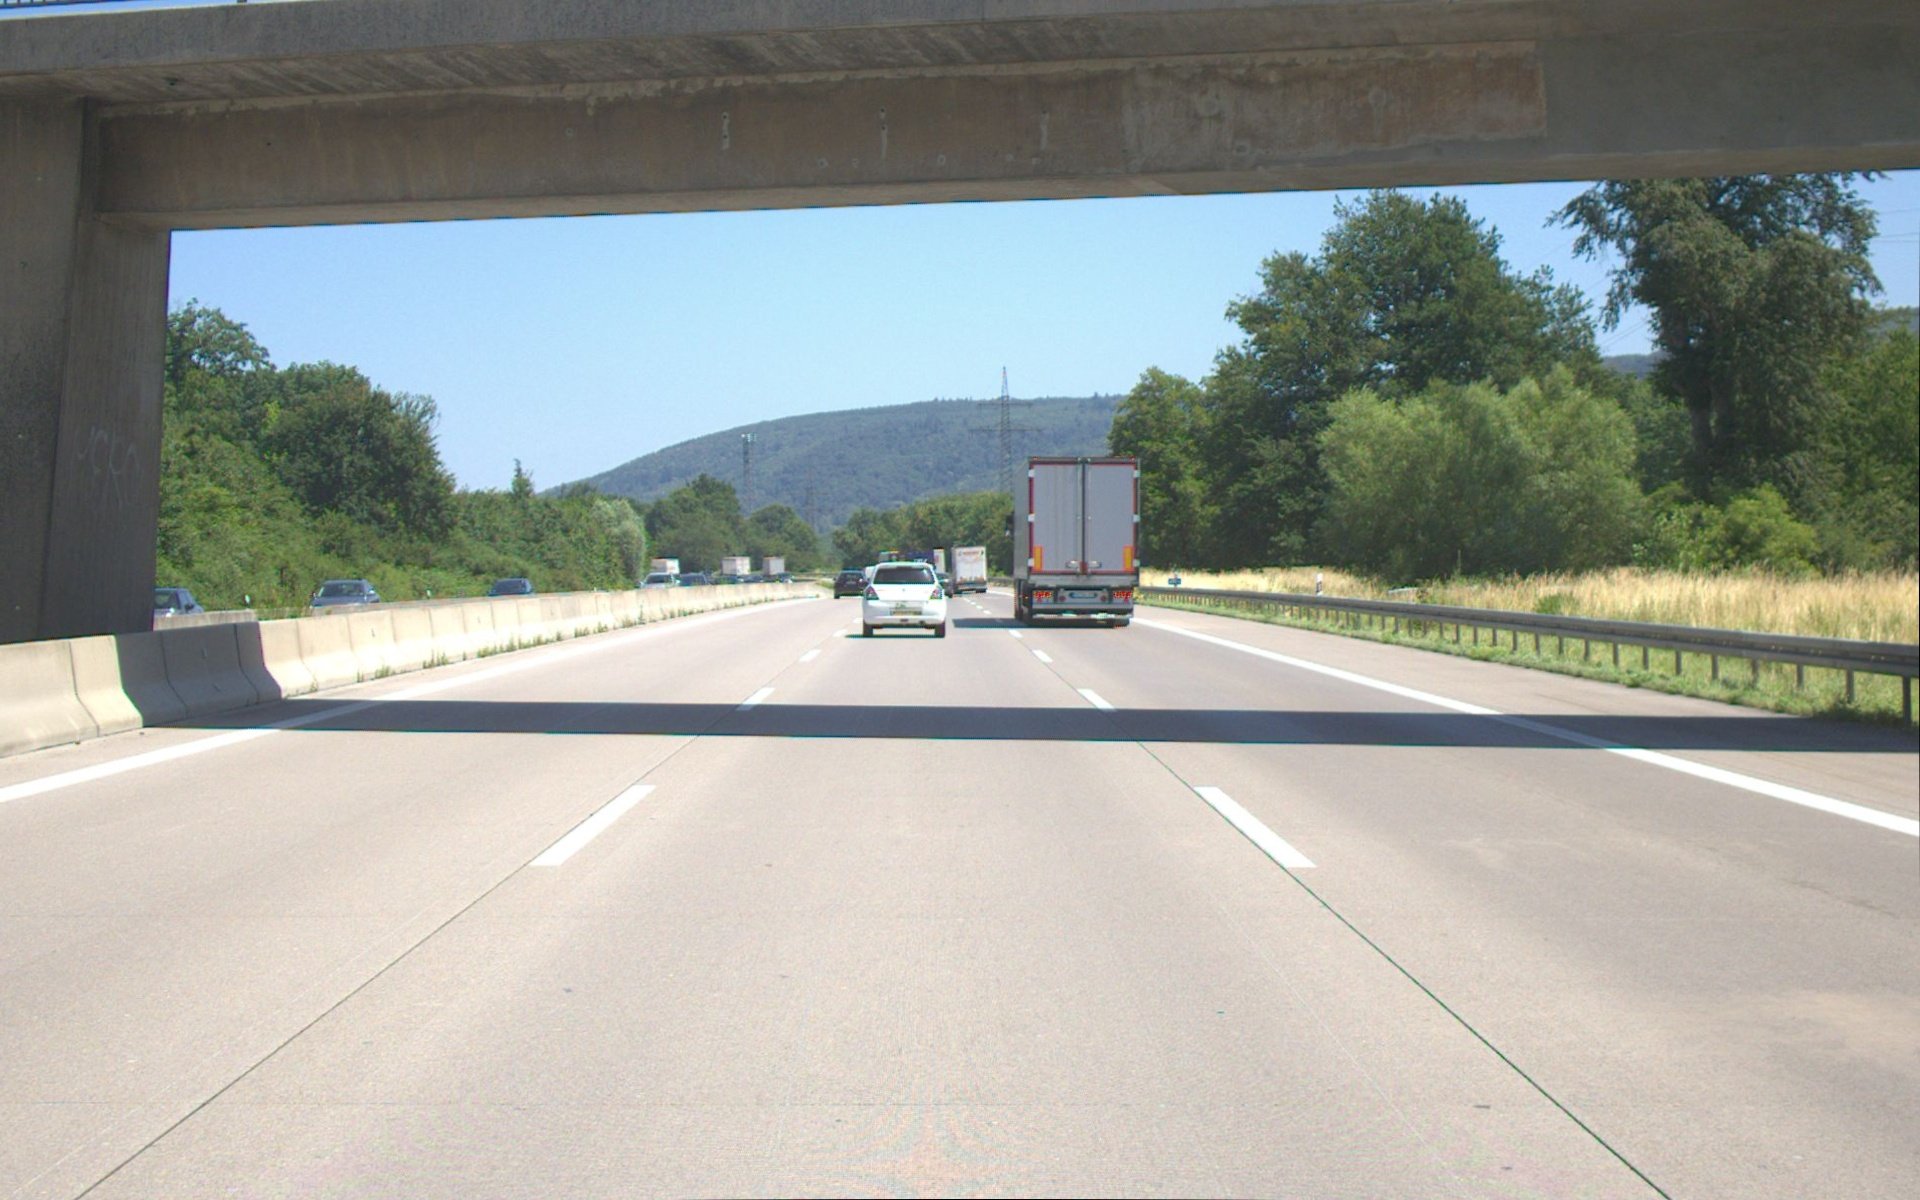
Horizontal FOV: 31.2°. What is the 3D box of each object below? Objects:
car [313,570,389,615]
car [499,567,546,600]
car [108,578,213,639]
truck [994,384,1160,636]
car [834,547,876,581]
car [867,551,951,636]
[{"bbox_3d":[-18.532,-0.239,104.704,1.565,1.315,4.372,-1,1,-1],"label":"car"},{"bbox_3d":[-18.129,-0.683,142.477,1.565,1.315,3.633,-1,1,-1],"label":"car"},{"bbox_3d":[-18.134,0.172,78.059,1.565,1.315,3.633,-1,1,-1],"label":"car"},{"bbox_3d":[2.771,-2.198,87.925,3.577,5.767,18.247,0,1,0],"label":"truck"},{"bbox_3d":[-5.462,-1.881,177.993,2.022,1.695,4.000,1,0,-3],"label":"car"},{"bbox_3d":[-1.030,-0.151,70.072,1.641,1.656,3.360,1,1,0],"label":"car"}]
